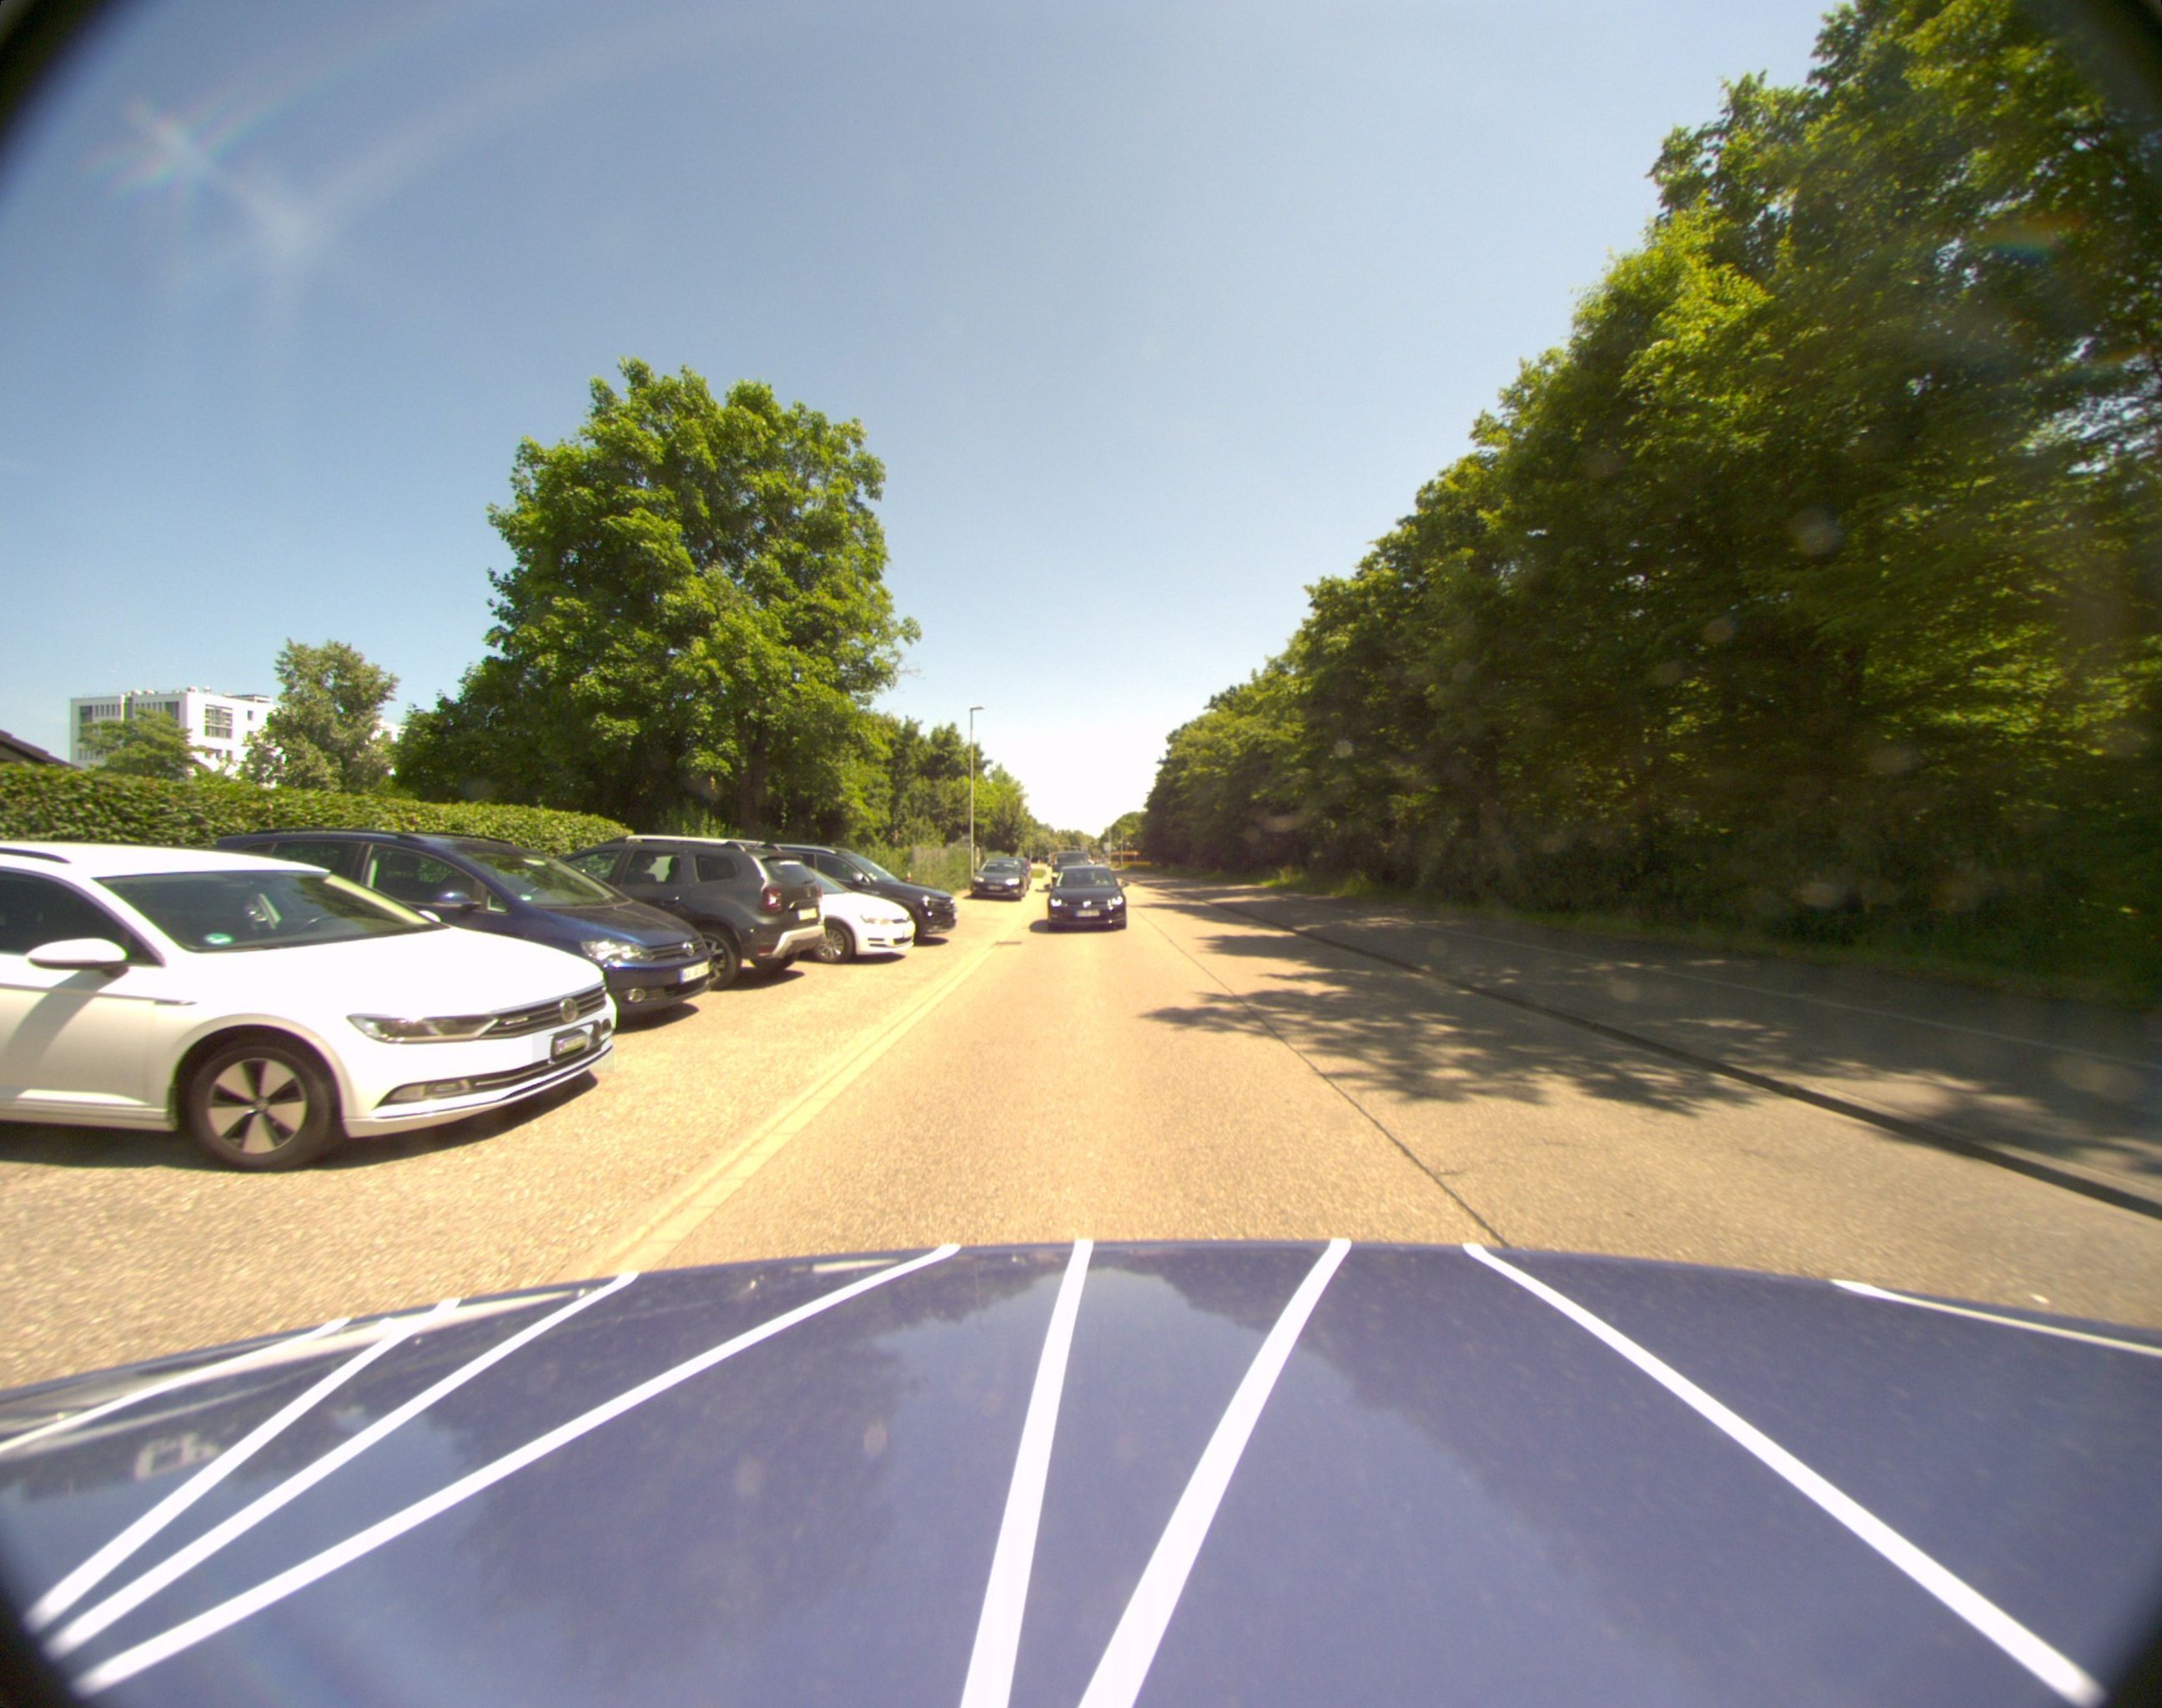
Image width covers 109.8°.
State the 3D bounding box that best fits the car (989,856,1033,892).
[{"bbox_3d":[-3.257,0.935,35.972,1.794,1.594,4.129,1,-1,-1],"label":"car"}]

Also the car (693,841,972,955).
[{"bbox_3d":[-4.477,0.772,14.214,4.481,1.694,1.914,4,0,1],"label":"car"}]

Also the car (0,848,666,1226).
[{"bbox_3d":[-5.189,0.795,4.245,4.570,1.430,1.961,3,0,-2],"label":"car"}]

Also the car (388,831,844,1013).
[{"bbox_3d":[-5.329,0.731,9.119,4.267,1.688,1.854,3,0,2],"label":"car"}]

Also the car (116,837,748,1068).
[{"bbox_3d":[-5.420,0.766,6.756,4.059,1.539,1.758,3,0,1],"label":"car"}]

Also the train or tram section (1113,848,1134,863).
[{"bbox_3d":[9.835,0.320,177.809,2.579,3.445,10.845,0,0,-10],"label":"train or tram section"}]

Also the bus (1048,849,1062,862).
[{"bbox_3d":[-6.298,0.390,184.494,2.931,3.248,8.330,0,0,0],"label":"bus"}]

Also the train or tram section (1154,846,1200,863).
[{"bbox_3d":[20.435,0.178,162.011,9.327,3.445,2.788,-1,0,30],"label":"train or tram section"}]

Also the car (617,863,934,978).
[{"bbox_3d":[-4.455,0.934,11.533,4.006,1.444,1.832,2,0,1],"label":"car"}]

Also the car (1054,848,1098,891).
[{"bbox_3d":[-0.293,0.729,37.340,2.002,1.965,4.449,0,0,-2],"label":"car"}]

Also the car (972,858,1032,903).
[{"bbox_3d":[-2.929,0.960,29.021,1.794,1.473,4.664,3,0,-1],"label":"car"}]

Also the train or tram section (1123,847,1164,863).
[{"bbox_3d":[13.758,0.278,168.234,2.656,3.445,10.826,-1,0,-35],"label":"train or tram section"}]

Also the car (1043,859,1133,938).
[{"bbox_3d":[0.137,0.962,18.533,1.887,1.667,4.662,-1,0,-1],"label":"car"}]
